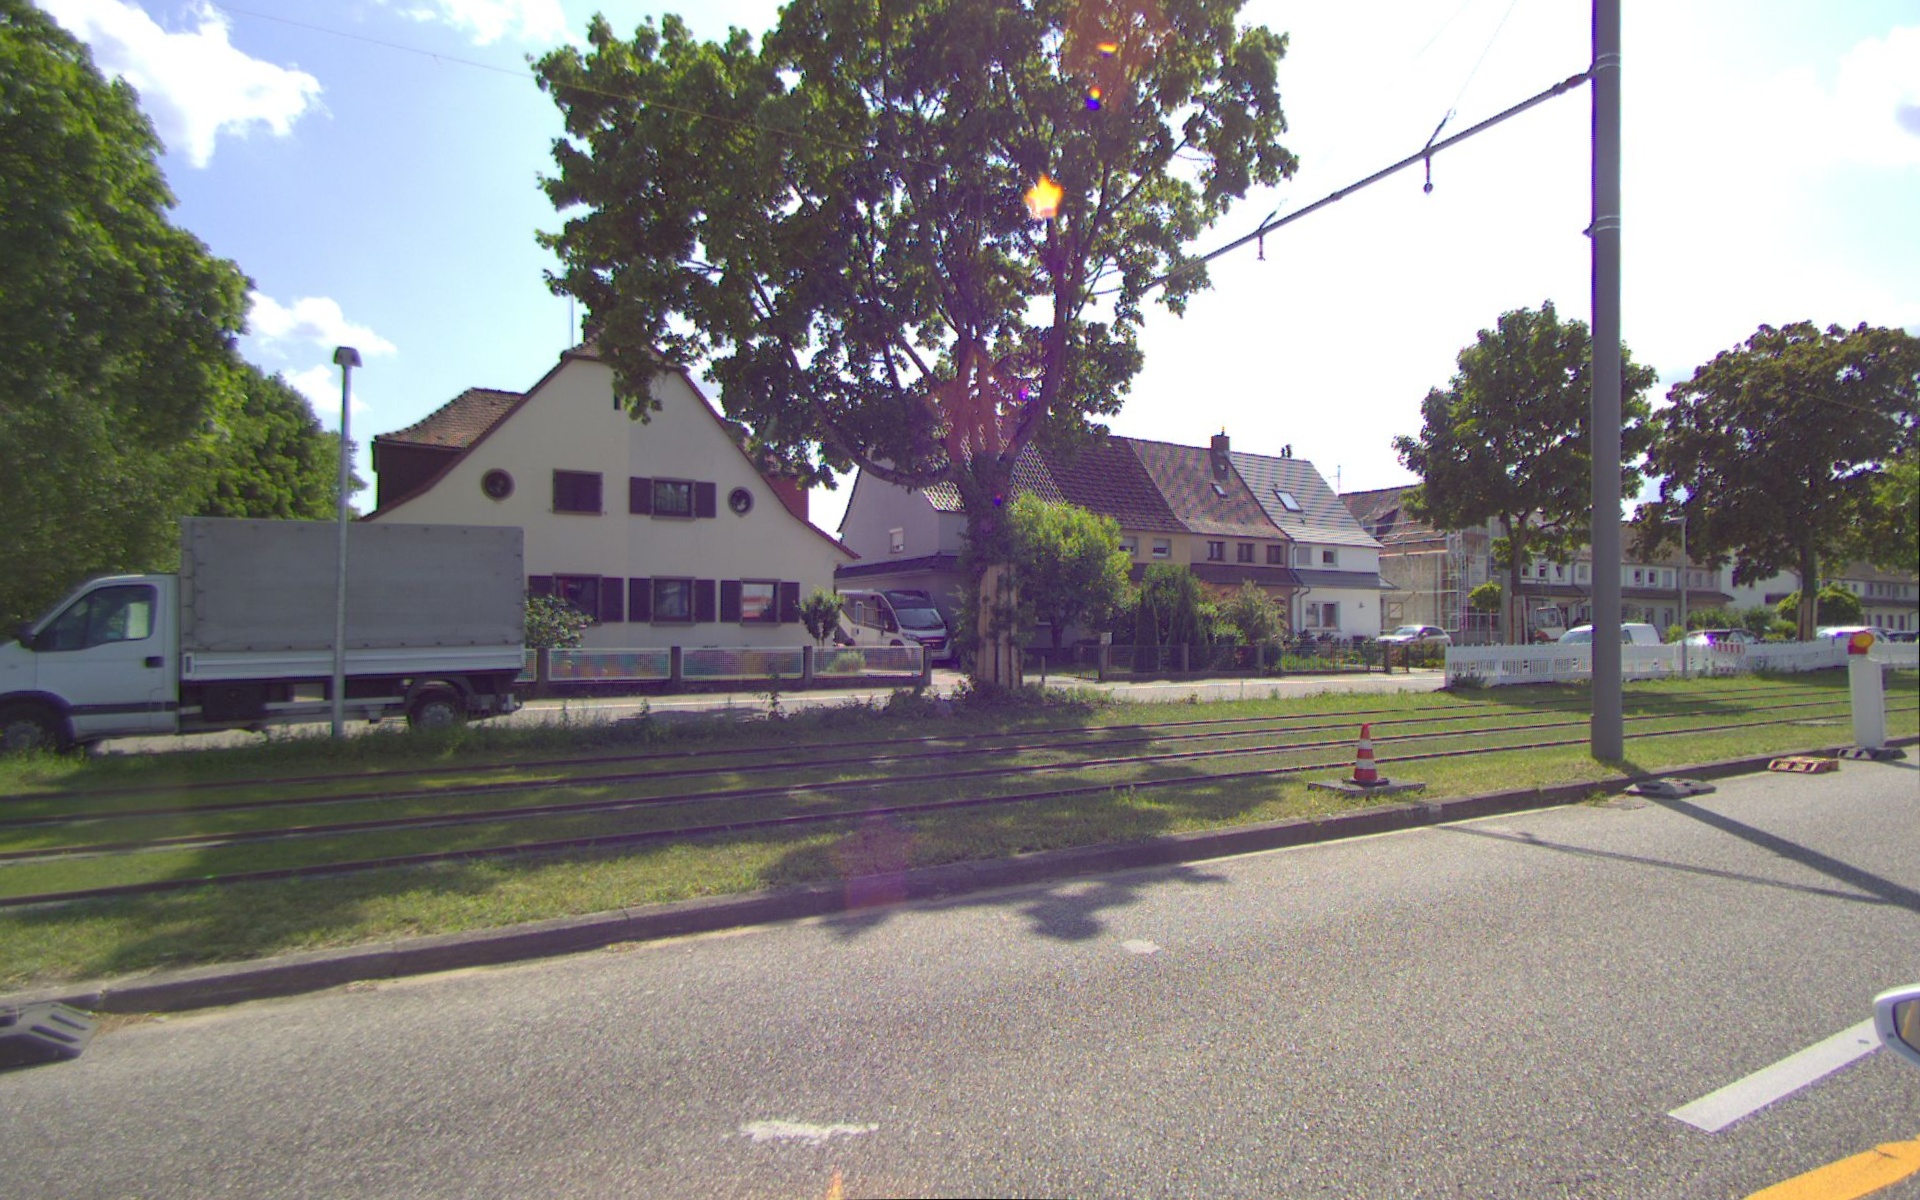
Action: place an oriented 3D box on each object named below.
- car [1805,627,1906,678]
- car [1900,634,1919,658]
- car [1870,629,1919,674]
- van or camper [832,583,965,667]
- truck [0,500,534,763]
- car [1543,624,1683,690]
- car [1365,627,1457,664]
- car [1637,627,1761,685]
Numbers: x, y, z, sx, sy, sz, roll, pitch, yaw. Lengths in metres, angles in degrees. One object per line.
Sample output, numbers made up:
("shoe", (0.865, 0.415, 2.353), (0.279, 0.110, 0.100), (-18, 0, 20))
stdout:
("car", (35.361, 2.034, 39.638), (4.079, 1.892, 1.768), (1, -2, -30))
("car", (70.030, 3.311, 72.745), (4.079, 1.745, 1.768), (1, -2, -30))
("car", (40.645, 2.168, 42.695), (4.079, 1.829, 1.768), (1, -2, -30))
("van or camper", (-2.376, 0.937, 36.650), (2.269, 2.801, 6.051), (1, -2, -32))
("truck", (-8.836, 0.402, 12.969), (5.906, 2.817, 2.255), (1, -2, -31))
("car", (19.554, 1.646, 30.051), (4.312, 1.845, 1.768), (1, -2, -30))
("car", (19.989, 1.992, 44.494), (3.952, 1.539, 1.768), (1, -2, -30))
("car", (24.289, 1.793, 33.000), (4.177, 1.797, 1.768), (1, -2, -30))
